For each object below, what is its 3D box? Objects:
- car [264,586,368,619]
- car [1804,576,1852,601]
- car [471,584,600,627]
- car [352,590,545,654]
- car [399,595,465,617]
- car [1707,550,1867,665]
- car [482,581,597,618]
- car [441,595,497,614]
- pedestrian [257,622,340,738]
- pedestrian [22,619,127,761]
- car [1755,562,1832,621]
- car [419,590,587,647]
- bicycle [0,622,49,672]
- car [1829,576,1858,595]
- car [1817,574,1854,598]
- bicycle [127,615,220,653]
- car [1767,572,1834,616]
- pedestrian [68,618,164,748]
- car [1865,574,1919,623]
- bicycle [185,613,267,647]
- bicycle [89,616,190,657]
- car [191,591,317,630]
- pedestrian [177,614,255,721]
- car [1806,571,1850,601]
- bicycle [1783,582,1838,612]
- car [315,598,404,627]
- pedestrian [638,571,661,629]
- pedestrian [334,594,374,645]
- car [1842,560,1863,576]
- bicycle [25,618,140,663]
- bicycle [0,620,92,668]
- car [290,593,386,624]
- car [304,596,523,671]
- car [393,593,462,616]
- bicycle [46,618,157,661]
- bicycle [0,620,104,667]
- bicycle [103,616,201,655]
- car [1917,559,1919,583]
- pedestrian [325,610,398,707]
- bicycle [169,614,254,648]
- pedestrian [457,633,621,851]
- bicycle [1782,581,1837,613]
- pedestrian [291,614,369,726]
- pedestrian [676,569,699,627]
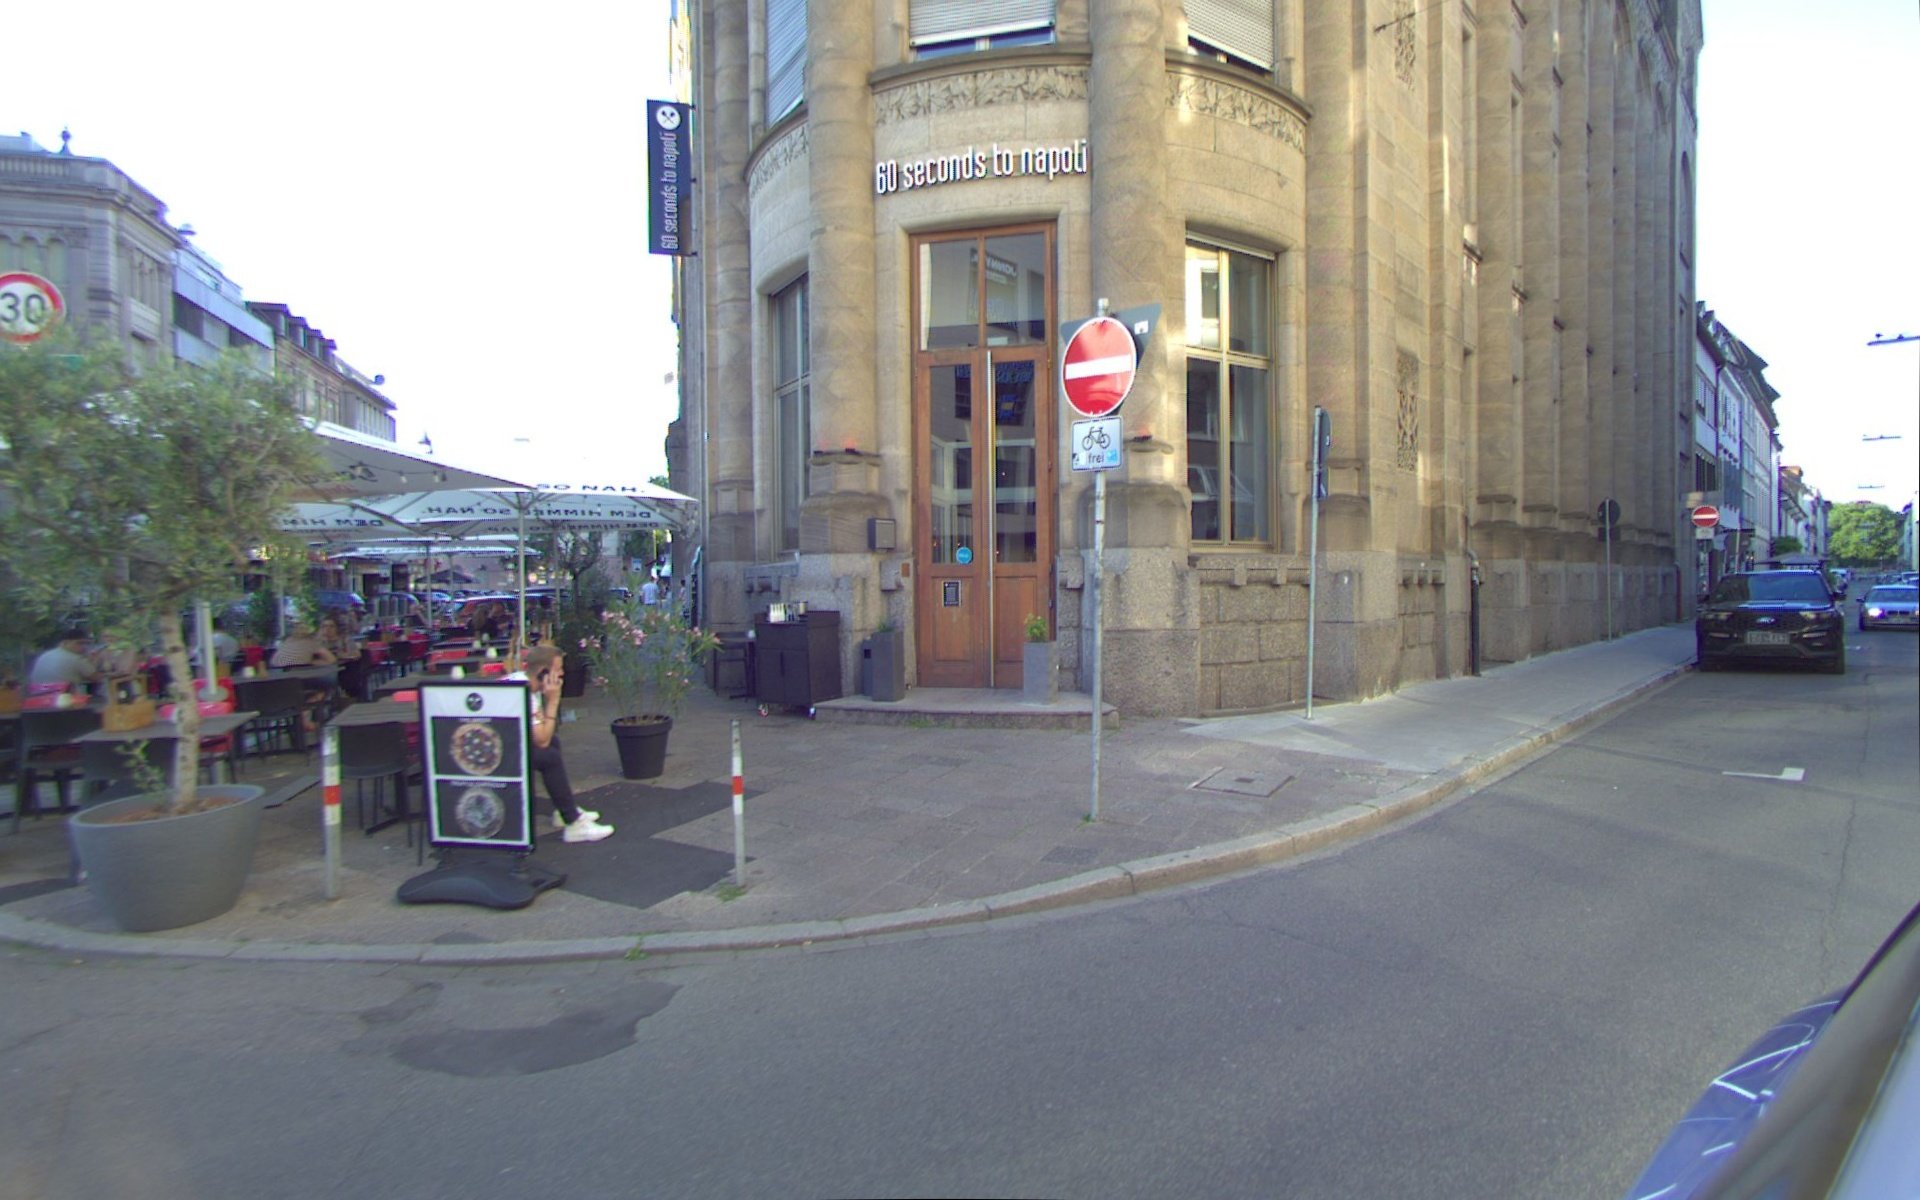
[{"bbox_3d":[-31.362,0.118,49.396,3.916,1.430,1.759,-2,0,-15],"label":"car"},{"bbox_3d":[47.883,-0.665,55.803,1.934,1.312,3.940,-1,0,42],"label":"car"},{"bbox_3d":[-15.703,0.176,37.605,1.747,1.430,4.085,-1,1,41],"label":"car"},{"bbox_3d":[-13.006,0.511,25.903,1.747,1.430,4.047,-1,1,41],"label":"car"},{"bbox_3d":[-38.176,0.439,73.268,3.916,1.430,1.759,-2,0,-15],"label":"car"},{"bbox_3d":[15.011,0.081,18.345,1.991,1.806,4.862,-1,0,41],"label":"car"},{"bbox_3d":[-17.715,-0.035,42.796,1.747,1.430,4.139,-1,1,41],"label":"car"},{"bbox_3d":[-41.573,0.371,85.765,3.916,1.430,1.759,-2,0,-15],"label":"car"},{"bbox_3d":[-7.248,0.858,11.106,0.588,1.204,0.574,-1,0,-13],"label":"pedestrian"},{"bbox_3d":[-8.365,0.822,9.560,0.681,1.261,0.594,-1,0,34],"label":"pedestrian"},{"bbox_3d":[27.610,-0.281,33.491,1.669,1.829,4.174,-2,0,43],"label":"car"},{"bbox_3d":[-13.007,0.497,28.960,1.747,1.430,4.010,-1,1,41],"label":"car"},{"bbox_3d":[-22.572,1.106,23.304,2.254,1.104,0.718,-2,0,-20],"label":"bicycle"},{"bbox_3d":[81.912,-1.387,93.823,1.992,1.697,4.391,-1,0,42],"label":"car"},{"bbox_3d":[64.789,-1.062,74.846,1.992,1.697,4.391,-1,0,42],"label":"car"},{"bbox_3d":[-25.391,1.088,32.715,2.254,1.104,0.718,-2,0,-20],"label":"bicycle"},{"bbox_3d":[31.001,-0.245,37.270,1.688,1.535,4.915,-1,0,42],"label":"car"},{"bbox_3d":[-8.645,0.821,10.371,0.681,1.261,0.594,-1,0,34],"label":"pedestrian"},{"bbox_3d":[29.688,-0.072,31.694,1.992,1.440,4.391,-1,0,42],"label":"car"},{"bbox_3d":[-26.626,1.081,36.756,2.254,1.104,0.718,-2,0,-20],"label":"bicycle"},{"bbox_3d":[-24.881,1.094,30.745,2.254,1.104,0.718,-2,0,-20],"label":"bicycle"},{"bbox_3d":[-29.318,0.419,42.164,3.916,1.430,1.759,-2,0,-15],"label":"car"},{"bbox_3d":[-9.239,0.815,12.567,0.681,1.261,0.594,-1,0,34],"label":"pedestrian"},{"bbox_3d":[54.656,-0.885,63.724,1.992,1.869,3.940,-1,0,42],"label":"car"},{"bbox_3d":[39.523,-0.150,47.050,1.869,1.243,0.587,5,4,43],"label":"bicycle"},{"bbox_3d":[-33.441,0.676,56.464,3.916,1.430,1.759,-2,0,-15],"label":"car"},{"bbox_3d":[-9.636,-0.002,31.406,0.616,1.752,0.598,-1,0,-22],"label":"pedestrian"},{"bbox_3d":[-21.732,0.685,36.320,0.953,1.772,1.004,-1,0,-14],"label":"pedestrian"},{"bbox_3d":[115.186,-4.139,130.568,1.992,1.919,4.391,-1,0,42],"label":"car"},{"bbox_3d":[-24.112,1.102,27.862,2.254,1.104,0.718,-2,0,-20],"label":"bicycle"},{"bbox_3d":[-23.173,1.103,25.181,2.254,1.104,0.718,-2,0,-20],"label":"bicycle"},{"bbox_3d":[-32.233,0.434,52.555,3.916,1.430,1.759,-2,0,-15],"label":"car"},{"bbox_3d":[-12.275,0.697,22.935,1.747,1.430,4.010,-1,1,41],"label":"car"},{"bbox_3d":[-36.974,0.283,70.317,3.927,1.430,1.754,-2,0,3],"label":"car"},{"bbox_3d":[-24.356,1.100,28.757,2.254,1.104,0.718,-2,0,-20],"label":"bicycle"},{"bbox_3d":[-23.543,1.106,25.991,2.254,1.104,0.718,-2,0,-20],"label":"bicycle"},{"bbox_3d":[-25.169,1.094,31.555,2.254,1.104,0.718,-2,0,-20],"label":"bicycle"},{"bbox_3d":[84.137,-2.533,87.421,1.992,2.067,4.391,-1,0,42],"label":"car"},{"bbox_3d":[-8.052,0.767,13.633,0.589,1.261,0.686,-1,0,-1],"label":"pedestrian"},{"bbox_3d":[-26.308,1.083,35.620,2.254,1.104,0.718,-2,0,-20],"label":"bicycle"},{"bbox_3d":[-2.598,0.822,6.243,0.806,1.204,0.607,-1,0,-37],"label":"pedestrian"},{"bbox_3d":[39.073,-0.150,46.549,1.869,1.318,0.587,5,4,43],"label":"bicycle"},{"bbox_3d":[-7.429,0.808,11.955,0.588,1.261,0.687,-1,0,-13],"label":"pedestrian"},{"bbox_3d":[-8.371,-0.075,31.047,0.585,1.752,0.630,-1,0,-20],"label":"pedestrian"}]
